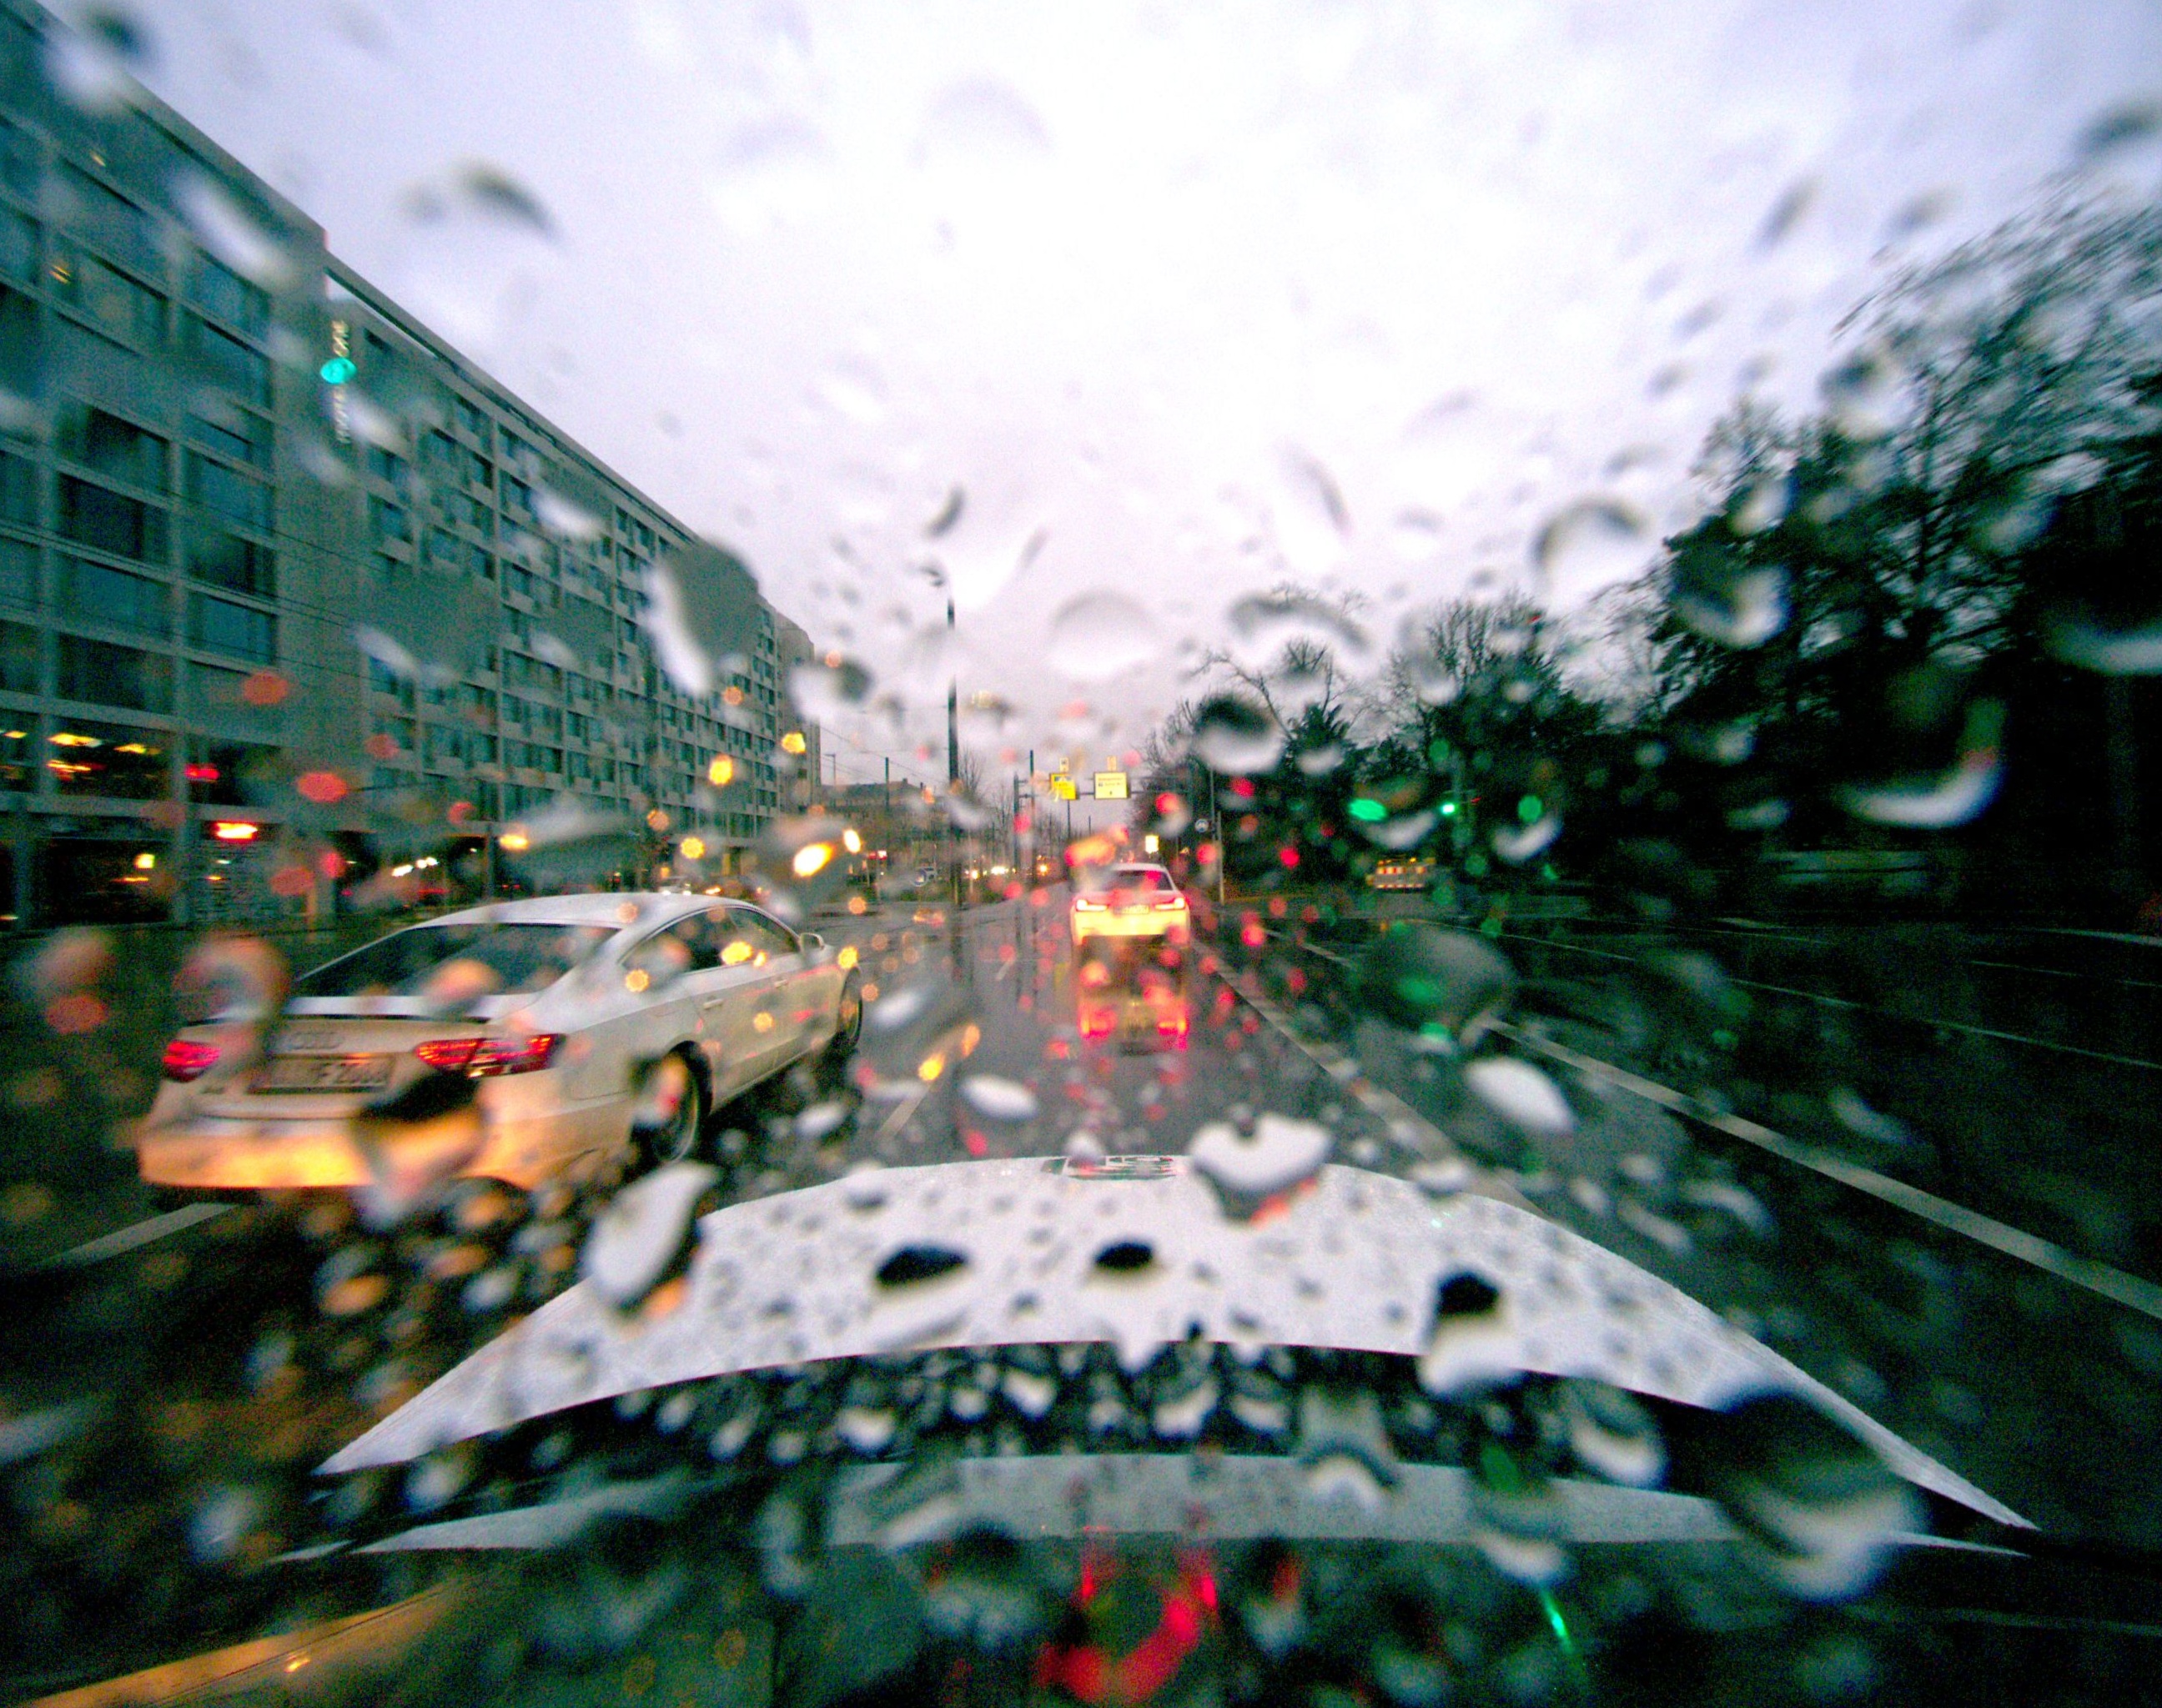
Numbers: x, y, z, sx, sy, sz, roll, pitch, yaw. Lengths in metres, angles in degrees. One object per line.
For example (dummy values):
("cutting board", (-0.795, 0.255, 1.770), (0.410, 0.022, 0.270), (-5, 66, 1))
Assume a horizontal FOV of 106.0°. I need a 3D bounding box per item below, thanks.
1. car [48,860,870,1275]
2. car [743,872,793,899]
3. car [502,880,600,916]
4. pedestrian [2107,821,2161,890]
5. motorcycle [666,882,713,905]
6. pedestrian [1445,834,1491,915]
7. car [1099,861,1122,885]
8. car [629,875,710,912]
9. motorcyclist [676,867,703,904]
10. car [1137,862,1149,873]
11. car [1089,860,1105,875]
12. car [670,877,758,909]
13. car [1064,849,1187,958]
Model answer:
("car", (-2.775, 0.793, 5.046), (1.753, 1.470, 4.252), (0, -1, 1))
("car", (-18.593, 1.842, 48.590), (1.995, 1.462, 5.074), (0, -1, -12))
("car", (-25.507, 2.080, 39.364), (1.872, 1.574, 4.006), (0, -1, 6))
("pedestrian", (25.934, 0.032, 19.900), (0.726, 1.641, 0.846), (0, -1, -18))
("motorcycle", (-20.261, 2.025, 42.211), (0.867, 1.057, 2.968), (0, -1, 3))
("pedestrian", (9.217, 0.487, 19.400), (0.713, 1.879, 0.673), (0, -1, -10))
("car", (2.690, 1.681, 73.016), (1.986, 2.014, 4.002), (0, -1, 2))
("car", (-21.773, 2.057, 43.347), (1.874, 1.789, 4.600), (0, -1, 2))
("motorcyclist", (-20.266, 1.608, 42.143), (0.867, 1.885, 1.034), (0, -1, 2))
("car", (11.776, 2.604, 154.795), (1.986, 2.014, 4.002), (0, -1, 2))
("car", (2.238, 1.883, 112.521), (1.986, 2.014, 4.002), (0, -1, 2))
("car", (-18.588, 1.956, 41.575), (1.985, 1.462, 5.098), (0, -1, 2))
("car", (0.605, 0.734, 13.815), (1.755, 1.552, 4.249), (0, -1, -1))
